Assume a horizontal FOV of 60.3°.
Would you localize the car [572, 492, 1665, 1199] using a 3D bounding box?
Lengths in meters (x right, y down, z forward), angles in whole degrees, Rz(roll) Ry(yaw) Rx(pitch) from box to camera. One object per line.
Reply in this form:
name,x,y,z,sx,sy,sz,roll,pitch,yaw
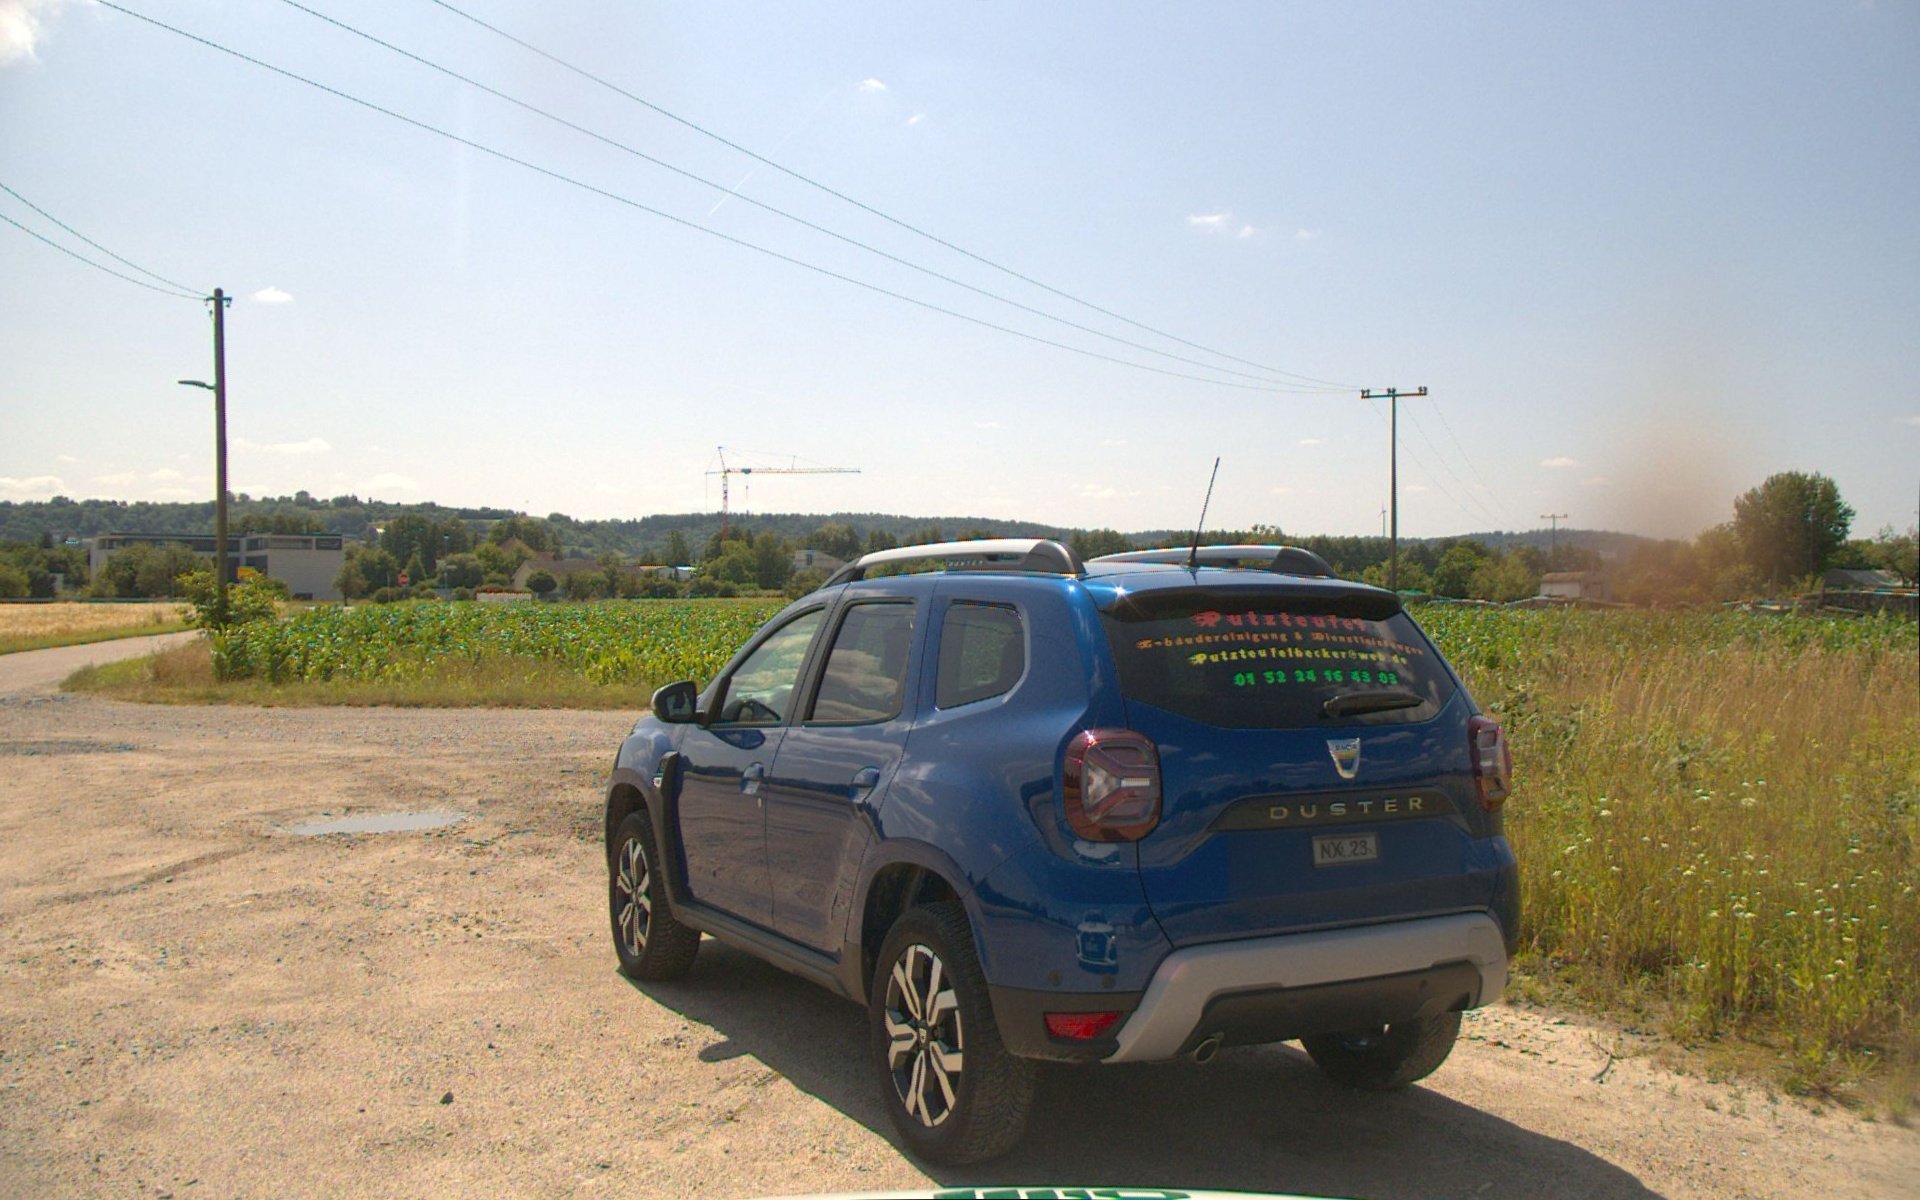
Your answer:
car,0.086,0.643,6.025,1.838,1.690,4.416,1,-1,-28
